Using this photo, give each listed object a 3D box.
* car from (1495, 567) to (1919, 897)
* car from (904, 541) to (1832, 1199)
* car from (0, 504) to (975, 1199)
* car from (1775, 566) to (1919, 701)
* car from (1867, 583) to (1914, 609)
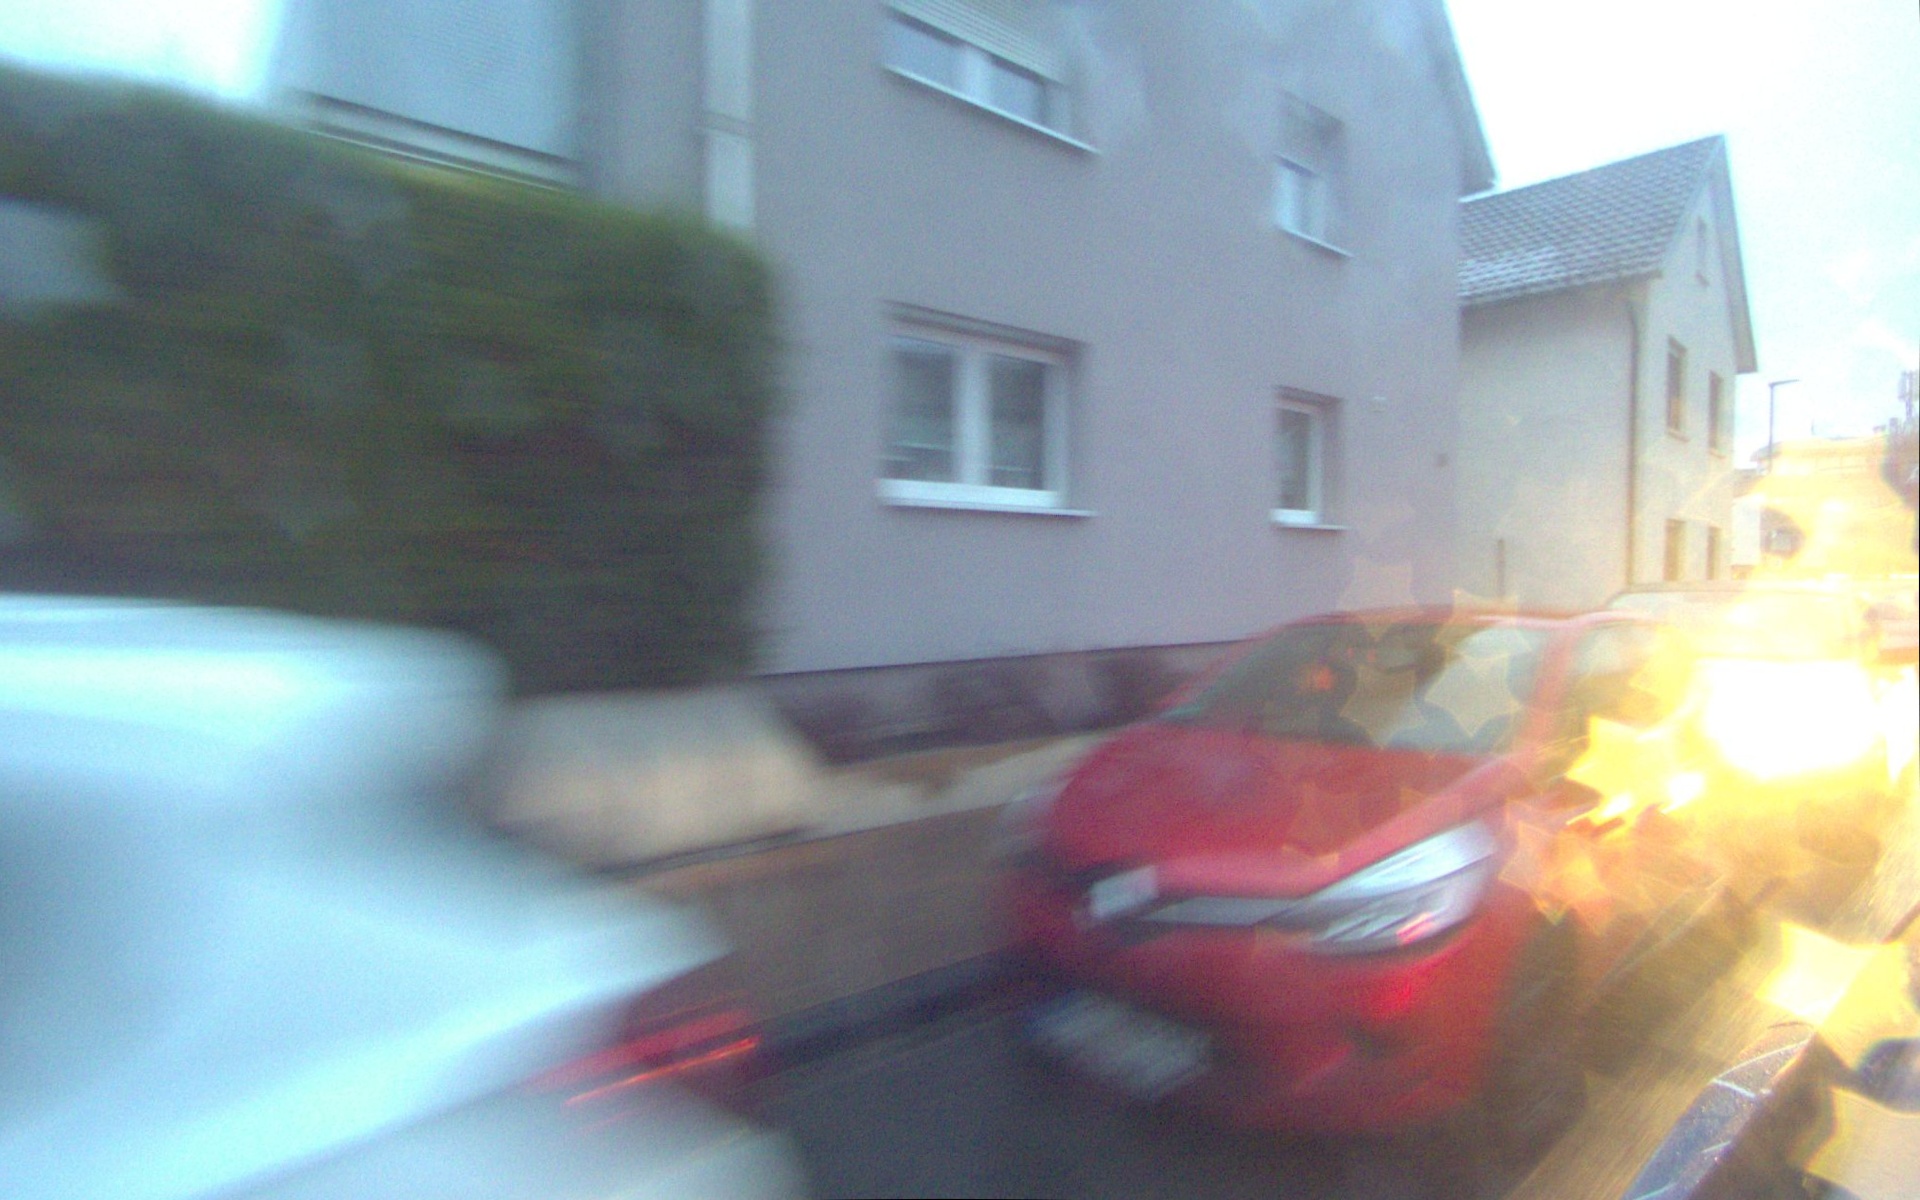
[{"bbox_3d":[5.409,0.562,6.880,4.231,1.558,1.812,-2,2,-42],"label":"car"},{"bbox_3d":[1.980,0.563,4.129,4.228,1.424,1.739,0,1,-40],"label":"car"},{"bbox_3d":[-2.148,0.667,0.530,4.294,1.496,1.647,0,1,-40],"label":"car"},{"bbox_3d":[13.133,0.388,14.171,4.162,1.669,1.989,0,1,-41],"label":"car"},{"bbox_3d":[65.764,-0.304,71.510,3.930,1.844,1.997,0,1,-41],"label":"car"}]
